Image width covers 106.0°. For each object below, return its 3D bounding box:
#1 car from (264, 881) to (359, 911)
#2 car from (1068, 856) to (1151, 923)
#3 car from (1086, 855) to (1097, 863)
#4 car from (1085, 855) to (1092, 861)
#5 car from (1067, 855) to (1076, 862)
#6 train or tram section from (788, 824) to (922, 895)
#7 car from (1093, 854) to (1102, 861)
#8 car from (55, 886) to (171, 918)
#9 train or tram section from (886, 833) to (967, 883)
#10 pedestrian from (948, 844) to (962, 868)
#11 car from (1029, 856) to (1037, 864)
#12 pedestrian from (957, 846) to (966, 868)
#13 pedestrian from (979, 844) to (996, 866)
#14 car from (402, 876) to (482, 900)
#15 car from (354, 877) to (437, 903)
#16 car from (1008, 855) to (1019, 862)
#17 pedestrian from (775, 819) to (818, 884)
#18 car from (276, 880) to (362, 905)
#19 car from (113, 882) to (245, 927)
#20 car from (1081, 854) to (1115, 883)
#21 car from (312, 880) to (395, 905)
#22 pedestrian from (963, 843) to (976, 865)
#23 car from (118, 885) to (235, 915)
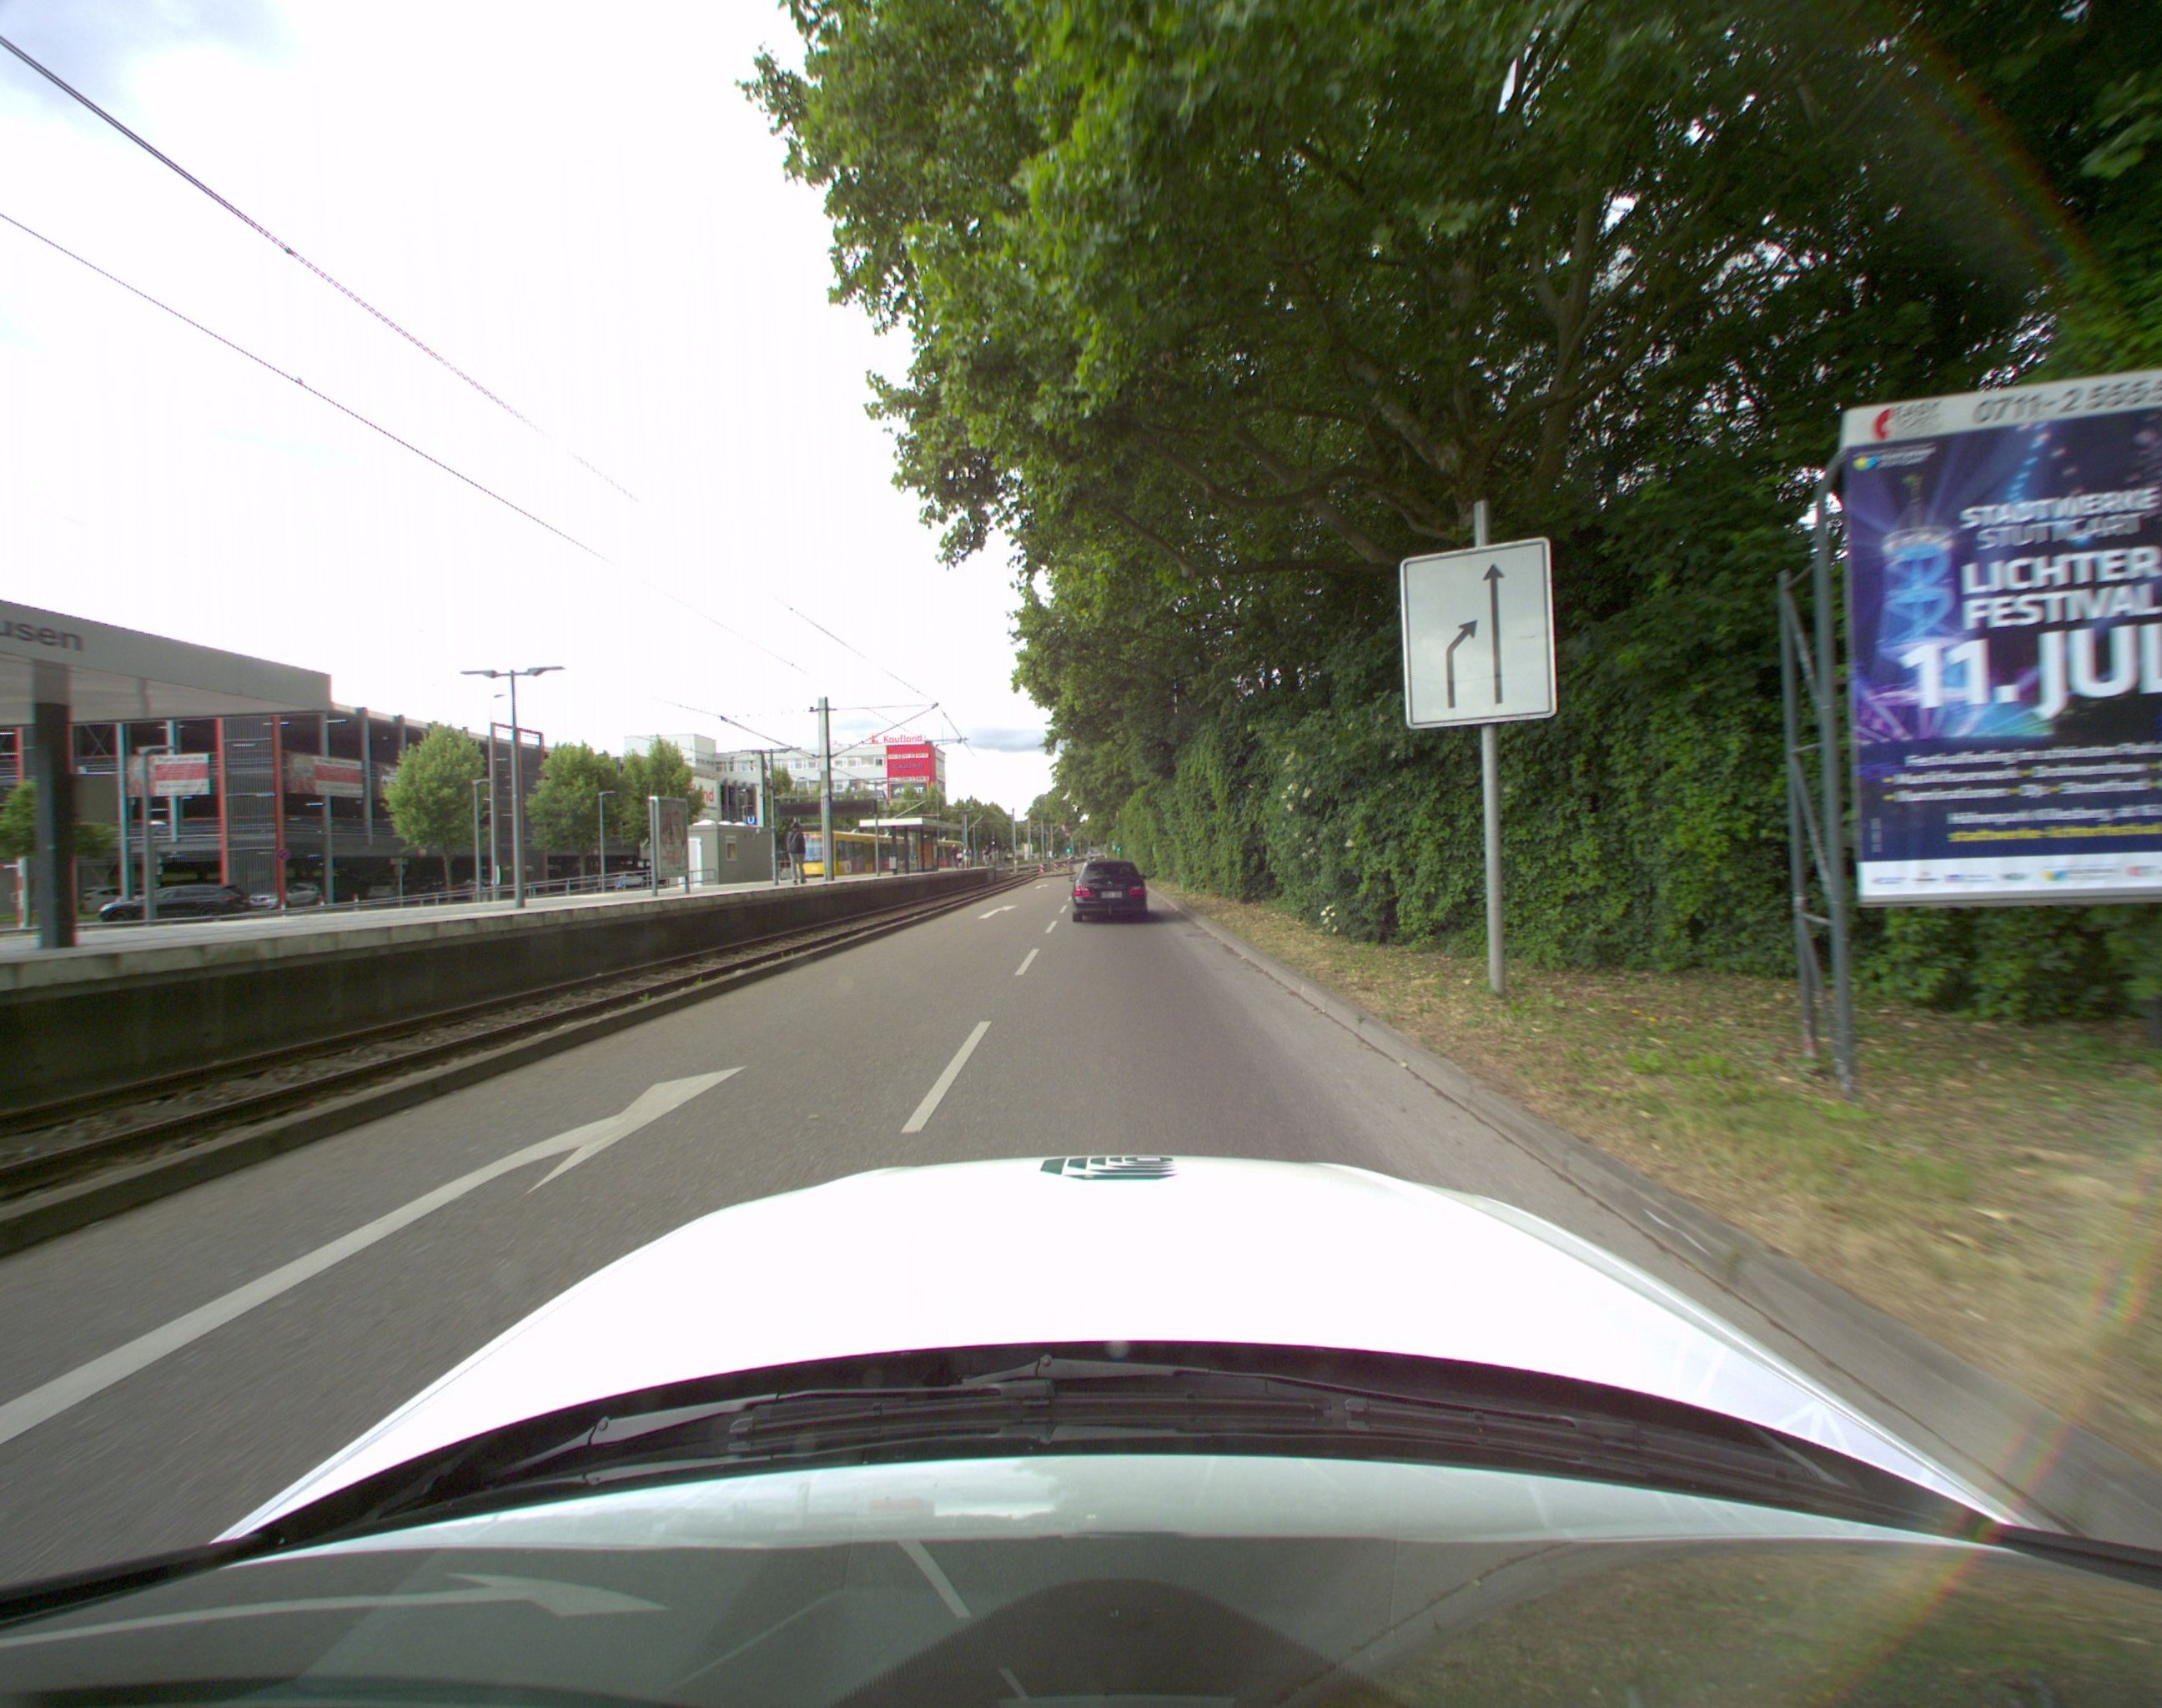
[{"bbox_3d":[-40.836,2.198,43.308,1.528,1.310,3.544,-3,0,2],"label":"car"},{"bbox_3d":[0.717,0.816,20.532,1.826,1.478,4.417,-1,0,2],"label":"car"},{"bbox_3d":[2.081,1.003,159.271,1.818,1.530,4.419,-2,0,3],"label":"car"},{"bbox_3d":[2.077,1.133,233.081,1.818,1.530,3.989,-1,0,3],"label":"car"},{"bbox_3d":[-2.089,1.064,189.218,1.818,1.530,3.930,-1,0,3],"label":"car"},{"bbox_3d":[-14.634,0.326,55.421,2.745,3.882,18.646,-3,0,3],"label":"train or tram section"},{"bbox_3d":[3.765,0.718,182.292,1.818,1.530,3.930,-1,0,3],"label":"car"},{"bbox_3d":[-50.697,2.478,42.758,1.709,1.415,3.562,-2,0,2],"label":"car"},{"bbox_3d":[-13.612,0.389,74.077,2.745,3.829,18.644,-3,-1,3],"label":"train or tram section"},{"bbox_3d":[-8.856,0.142,57.348,0.768,1.678,0.791,-3,-1,1],"label":"pedestrian"},{"bbox_3d":[-14.461,1.782,244.238,1.987,2.013,4.000,-3,0,1],"label":"car"},{"bbox_3d":[-8.277,0.207,56.266,0.476,1.483,0.540,-3,-1,-14],"label":"pedestrian"},{"bbox_3d":[-7.099,0.076,61.856,0.736,1.678,0.881,-4,-1,45],"label":"pedestrian"},{"bbox_3d":[-42.456,2.233,54.232,1.986,1.310,4.002,-3,0,2],"label":"car"},{"bbox_3d":[-45.503,2.386,54.183,1.986,1.473,4.002,-3,0,2],"label":"car"},{"bbox_3d":[-17.577,1.135,213.200,1.984,1.743,4.995,-3,0,5],"label":"car"},{"bbox_3d":[-7.976,-0.059,22.868,0.746,1.744,0.937,-3,-1,1],"label":"pedestrian"},{"bbox_3d":[-50.382,2.533,53.978,1.816,1.457,4.001,-2,0,1],"label":"car"},{"bbox_3d":[-39.761,2.191,35.996,1.625,1.706,3.836,-2,0,42],"label":"car"},{"bbox_3d":[0.958,0.821,47.342,1.819,1.530,4.416,-2,0,1],"label":"car"},{"bbox_3d":[-47.986,2.518,53.815,1.816,1.457,4.001,-2,0,1],"label":"car"},{"bbox_3d":[-7.591,-0.012,55.435,0.514,1.482,0.585,-4,-1,39],"label":"pedestrian"},{"bbox_3d":[-47.686,2.399,43.057,1.843,1.310,3.802,-3,0,2],"label":"car"}]
